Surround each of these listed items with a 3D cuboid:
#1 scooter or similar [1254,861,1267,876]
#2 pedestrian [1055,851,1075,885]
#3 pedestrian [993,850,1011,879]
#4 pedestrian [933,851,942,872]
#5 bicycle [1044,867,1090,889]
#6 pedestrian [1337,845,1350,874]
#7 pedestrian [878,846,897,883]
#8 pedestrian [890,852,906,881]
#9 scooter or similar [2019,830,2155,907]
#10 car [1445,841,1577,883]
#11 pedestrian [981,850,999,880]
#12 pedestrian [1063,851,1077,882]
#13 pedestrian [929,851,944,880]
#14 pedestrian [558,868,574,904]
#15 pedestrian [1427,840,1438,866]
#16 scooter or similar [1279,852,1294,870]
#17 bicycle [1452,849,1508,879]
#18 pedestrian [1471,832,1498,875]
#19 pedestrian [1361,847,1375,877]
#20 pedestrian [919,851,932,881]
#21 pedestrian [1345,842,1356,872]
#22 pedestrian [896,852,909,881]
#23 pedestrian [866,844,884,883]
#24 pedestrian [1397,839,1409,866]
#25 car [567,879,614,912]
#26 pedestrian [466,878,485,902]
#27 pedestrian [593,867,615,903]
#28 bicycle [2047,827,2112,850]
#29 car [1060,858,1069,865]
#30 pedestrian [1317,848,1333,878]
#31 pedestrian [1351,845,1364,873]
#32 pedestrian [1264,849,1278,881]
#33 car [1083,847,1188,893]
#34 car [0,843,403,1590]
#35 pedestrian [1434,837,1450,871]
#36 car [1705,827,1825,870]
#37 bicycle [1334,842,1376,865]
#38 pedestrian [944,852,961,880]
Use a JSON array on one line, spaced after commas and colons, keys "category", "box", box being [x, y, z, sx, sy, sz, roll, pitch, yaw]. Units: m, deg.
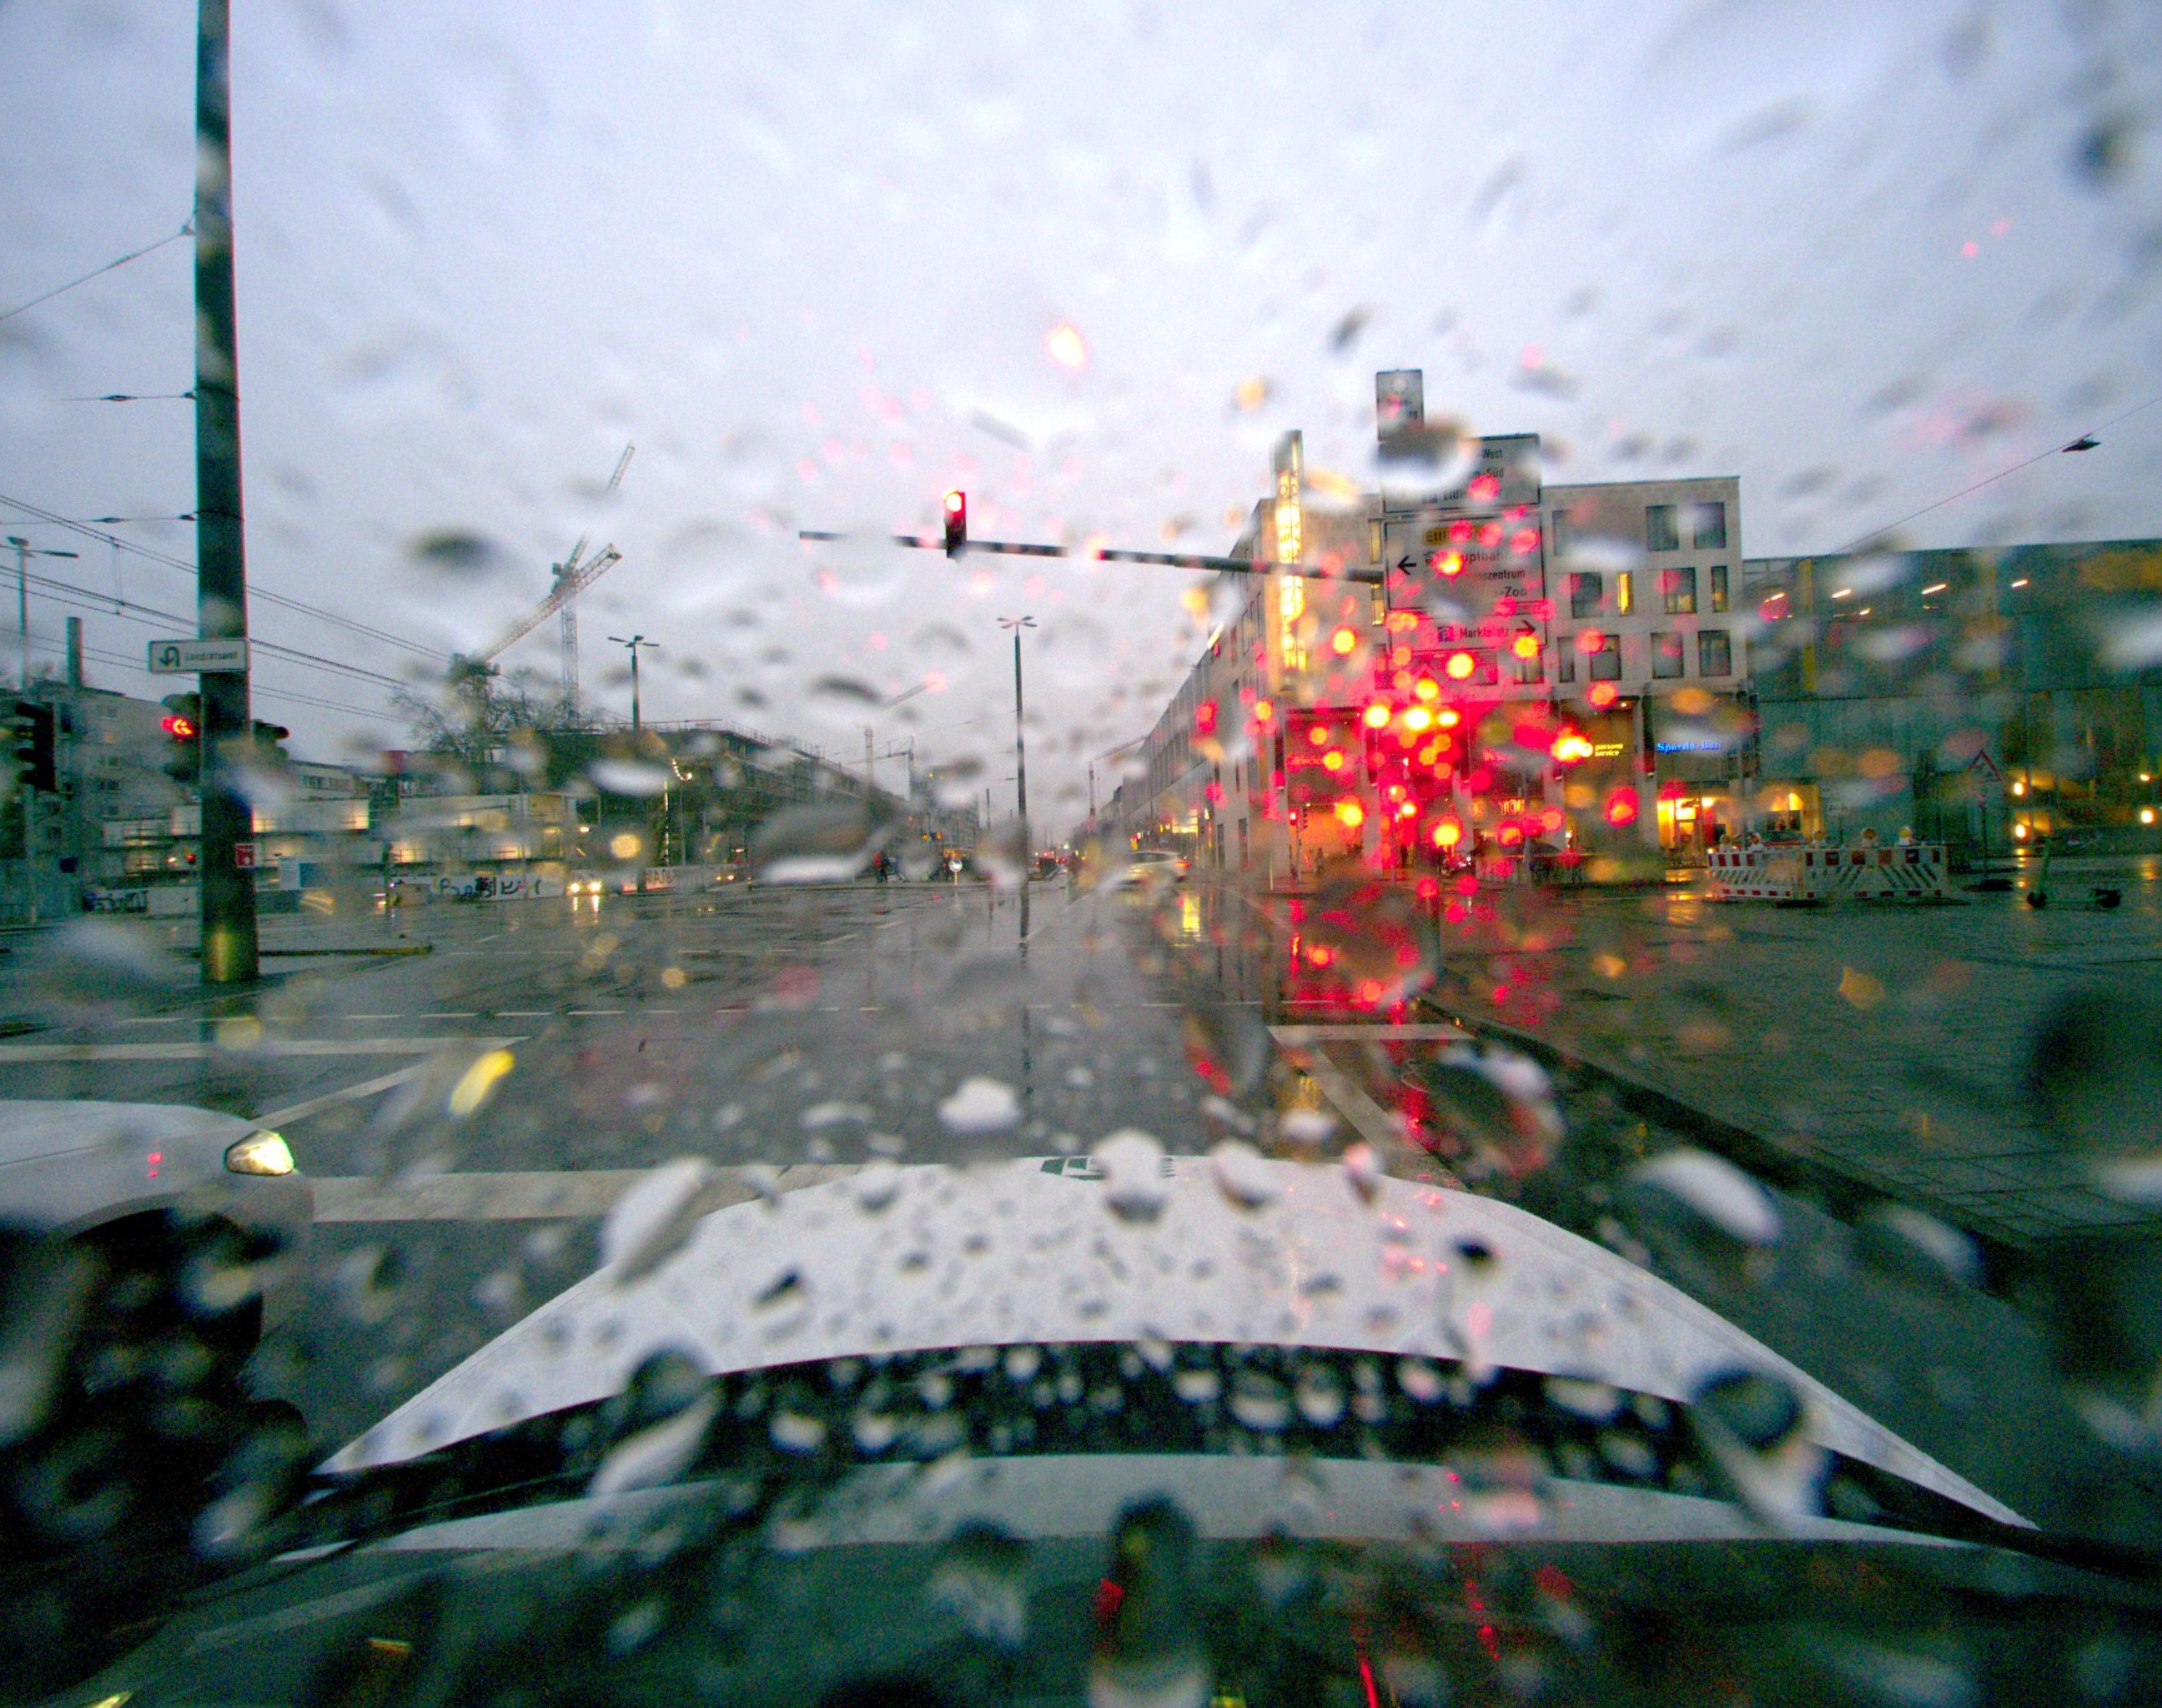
[{"category": "scooter or similar", "box": [11.257, 0.920, 51.142, 0.738, 0.916, 0.401, -2, -1, 3]}, {"category": "pedestrian", "box": [-0.742, 0.654, 38.034, 0.811, 1.570, 0.537, -2, -1, 3]}, {"category": "pedestrian", "box": [-4.624, 0.605, 47.469, 0.837, 1.688, 0.679, -2, -1, 10]}, {"category": "pedestrian", "box": [-12.180, 0.658, 69.293, 0.660, 1.746, 0.733, -2, -1, -9]}, {"category": "bicycle", "box": [-0.659, 1.131, 38.021, 2.119, 0.991, 0.542, -1, -1, 3]}, {"category": "pedestrian", "box": [16.057, 0.341, 49.873, 0.530, 1.718, 0.505, -3, -1, 39]}, {"category": "pedestrian", "box": [-10.632, 0.562, 44.680, 0.781, 2.013, 0.606, -2, -1, -37]}, {"category": "pedestrian", "box": [-10.457, 0.690, 46.589, 0.704, 1.619, 0.681, -2, -1, 3]}, {"category": "scooter or similar", "box": [15.860, 0.217, 12.881, 0.603, 1.130, 1.236, -2, 0, 2]}, {"category": "car", "box": [17.908, 0.317, 34.115, 4.507, 1.574, 1.802, -2, 0, 11]}, {"category": "pedestrian", "box": [-5.208, 0.624, 46.727, 0.826, 1.679, 0.620, -2, -1, 7]}, {"category": "pedestrian", "box": [-0.646, 0.742, 47.862, 0.700, 1.760, 0.652, -2, -1, 1]}, {"category": "pedestrian", "box": [-8.322, 0.674, 46.955, 0.704, 1.619, 0.613, -2, -1, -1]}, {"category": "pedestrian", "box": [-29.404, 1.828, 46.485, 0.507, 2.014, 0.638, -2, -2, -9]}, {"category": "pedestrian", "box": [24.040, -0.071, 55.733, 0.530, 1.718, 0.505, -3, -1, 39]}, {"category": "scooter or similar", "box": [11.947, 0.387, 47.267, 0.738, 0.993, 0.401, -2, -1, 3]}, {"category": "bicycle", "box": [15.382, 0.377, 31.416, 1.831, 1.093, 0.620, -2, -1, 16]}, {"category": "pedestrian", "box": [15.535, -0.019, 31.351, 0.775, 1.595, 0.616, -2, -1, 17]}, {"category": "pedestrian", "box": [17.057, 0.448, 48.476, 0.615, 1.760, 0.482, -2, -1, 1]}, {"category": "pedestrian", "box": [-9.192, 0.727, 48.189, 0.617, 1.746, 0.612, -2, -1, -4]}, {"category": "pedestrian", "box": [16.213, 0.180, 48.994, 0.510, 1.760, 0.374, -2, -1, 1]}, {"category": "pedestrian", "box": [-10.648, 0.744, 48.496, 0.617, 1.746, 0.612, -2, -1, -4]}, {"category": "pedestrian", "box": [-11.138, 0.506, 44.036, 0.691, 2.087, 0.606, -2, -1, -39]}, {"category": "pedestrian", "box": [20.783, -0.088, 52.500, 0.530, 1.718, 0.505, -3, -1, 39]}, {"category": "car", "box": [-33.503, 2.815, 55.765, 1.760, 2.013, 3.977, -2, 0, -17]}, {"category": "pedestrian", "box": [-41.241, 2.446, 55.475, 0.638, 1.529, 0.801, -3, -1, 32]}, {"category": "pedestrian", "box": [-27.724, 1.779, 47.338, 0.792, 2.013, 0.745, -2, -1, -9]}, {"category": "bicycle", "box": [48.604, -0.746, 39.688, 0.613, 1.033, 2.138, -2, 0, 3]}, {"category": "car", "box": [-4.012, 1.790, 196.230, 1.881, 1.783, 3.715, -1, -1, 2]}, {"category": "pedestrian", "box": [14.467, 0.524, 48.265, 0.700, 1.760, 0.668, -2, -1, 1]}, {"category": "pedestrian", "box": [17.004, 0.295, 50.038, 0.530, 1.718, 0.505, -3, -1, 39]}, {"category": "pedestrian", "box": [10.818, 0.643, 46.353, 0.631, 1.772, 0.484, -2, -1, 0]}, {"category": "car", "box": [2.301, 0.678, 34.705, 4.285, 1.761, 1.708, -2, 0, 2]}, {"category": "car", "box": [-3.191, 0.766, 0.166, 1.903, 1.520, 4.923, -2, 0, 0]}, {"category": "pedestrian", "box": [18.279, -0.007, 41.230, 0.530, 1.685, 0.552, -3, -1, 39]}, {"category": "car", "box": [28.332, -0.199, 33.806, 3.558, 1.582, 1.676, -2, -1, -1]}, {"category": "bicycle", "box": [17.194, -0.020, 51.077, 2.420, 1.329, 0.634, -2, 0, -4]}, {"category": "pedestrian", "box": [-7.493, 0.688, 47.542, 0.806, 1.607, 0.746, -2, -1, 1]}]
